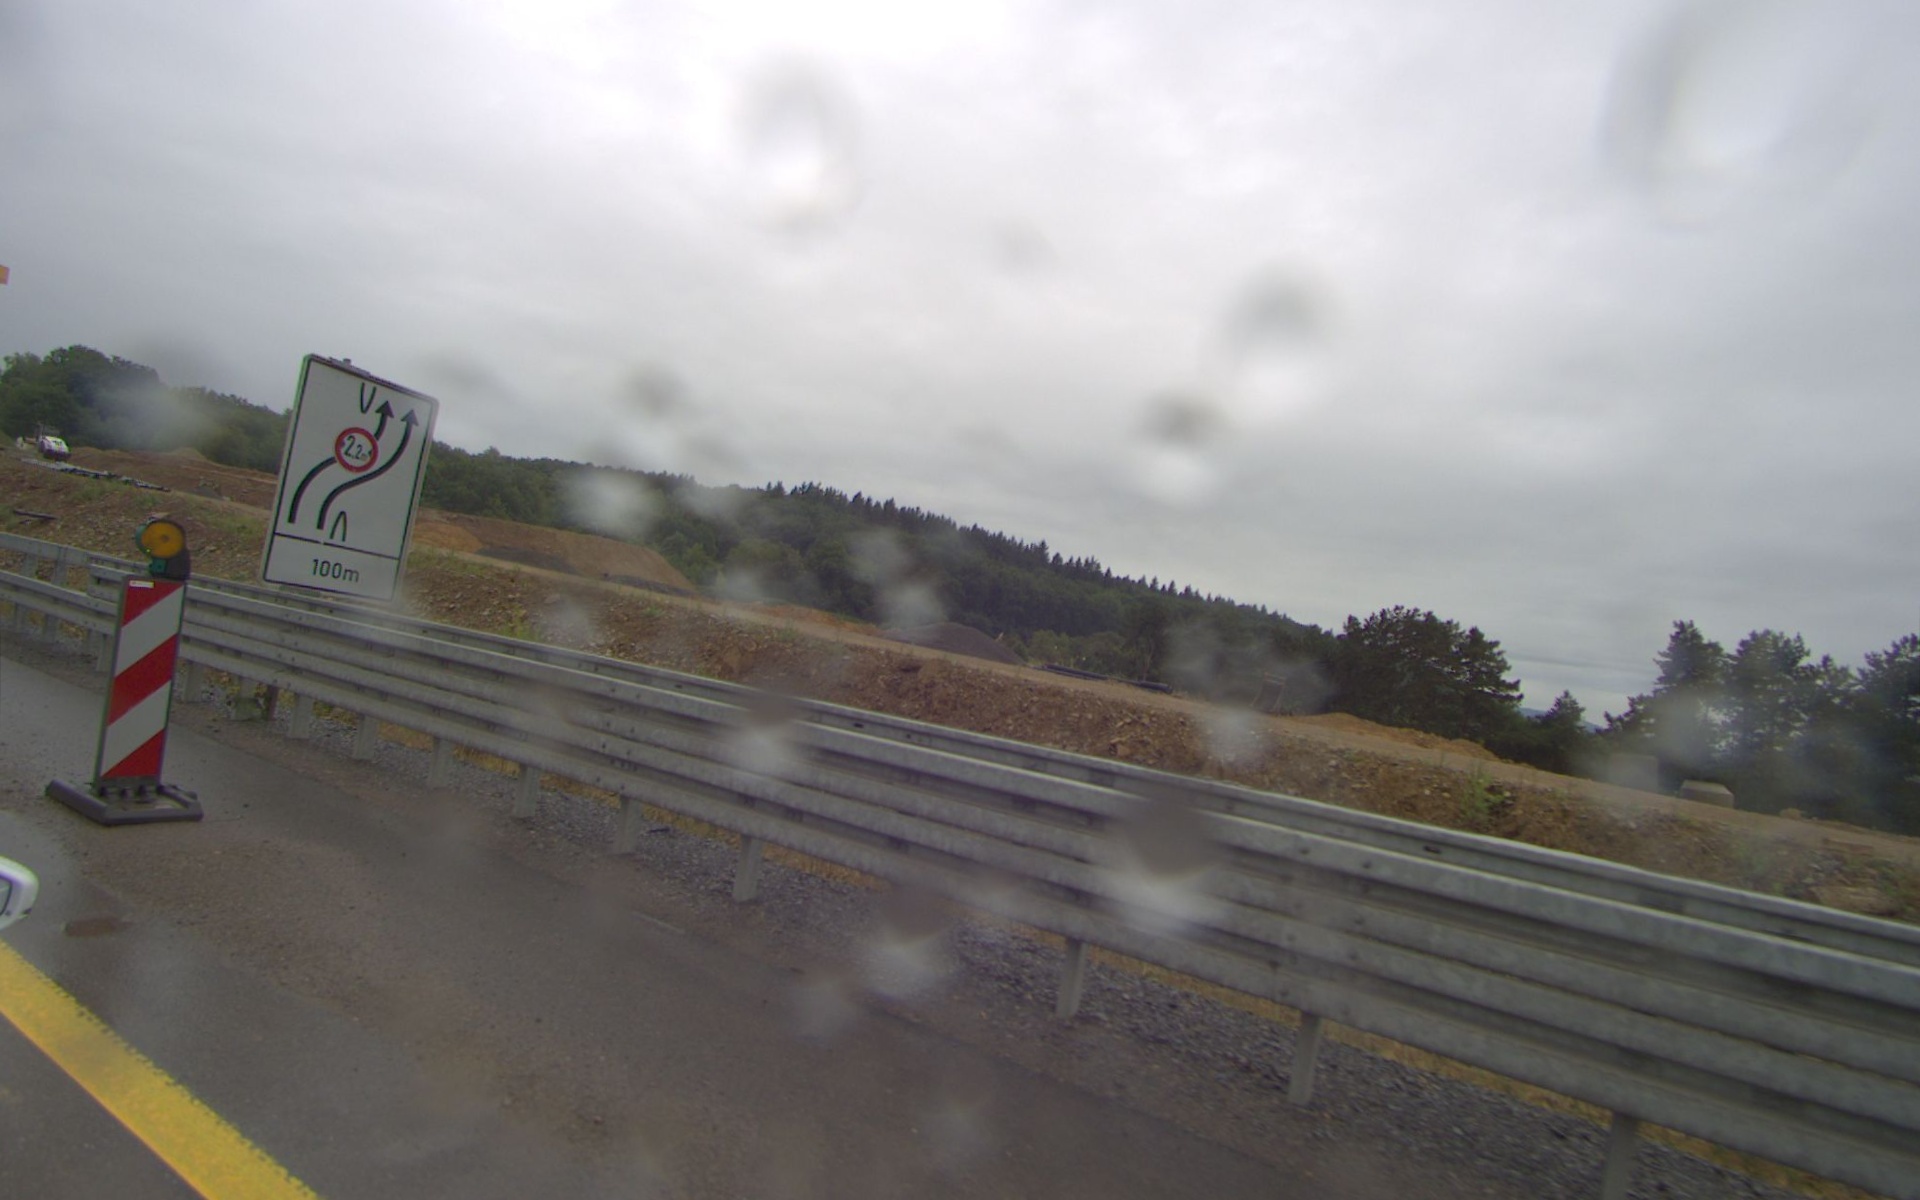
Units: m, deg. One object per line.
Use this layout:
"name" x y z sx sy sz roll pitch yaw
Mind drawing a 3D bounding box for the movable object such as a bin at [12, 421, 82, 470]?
"movable object such as a bin" -82.170 -13.890 90.517 6.446 3.641 2.347 7 -1 28
